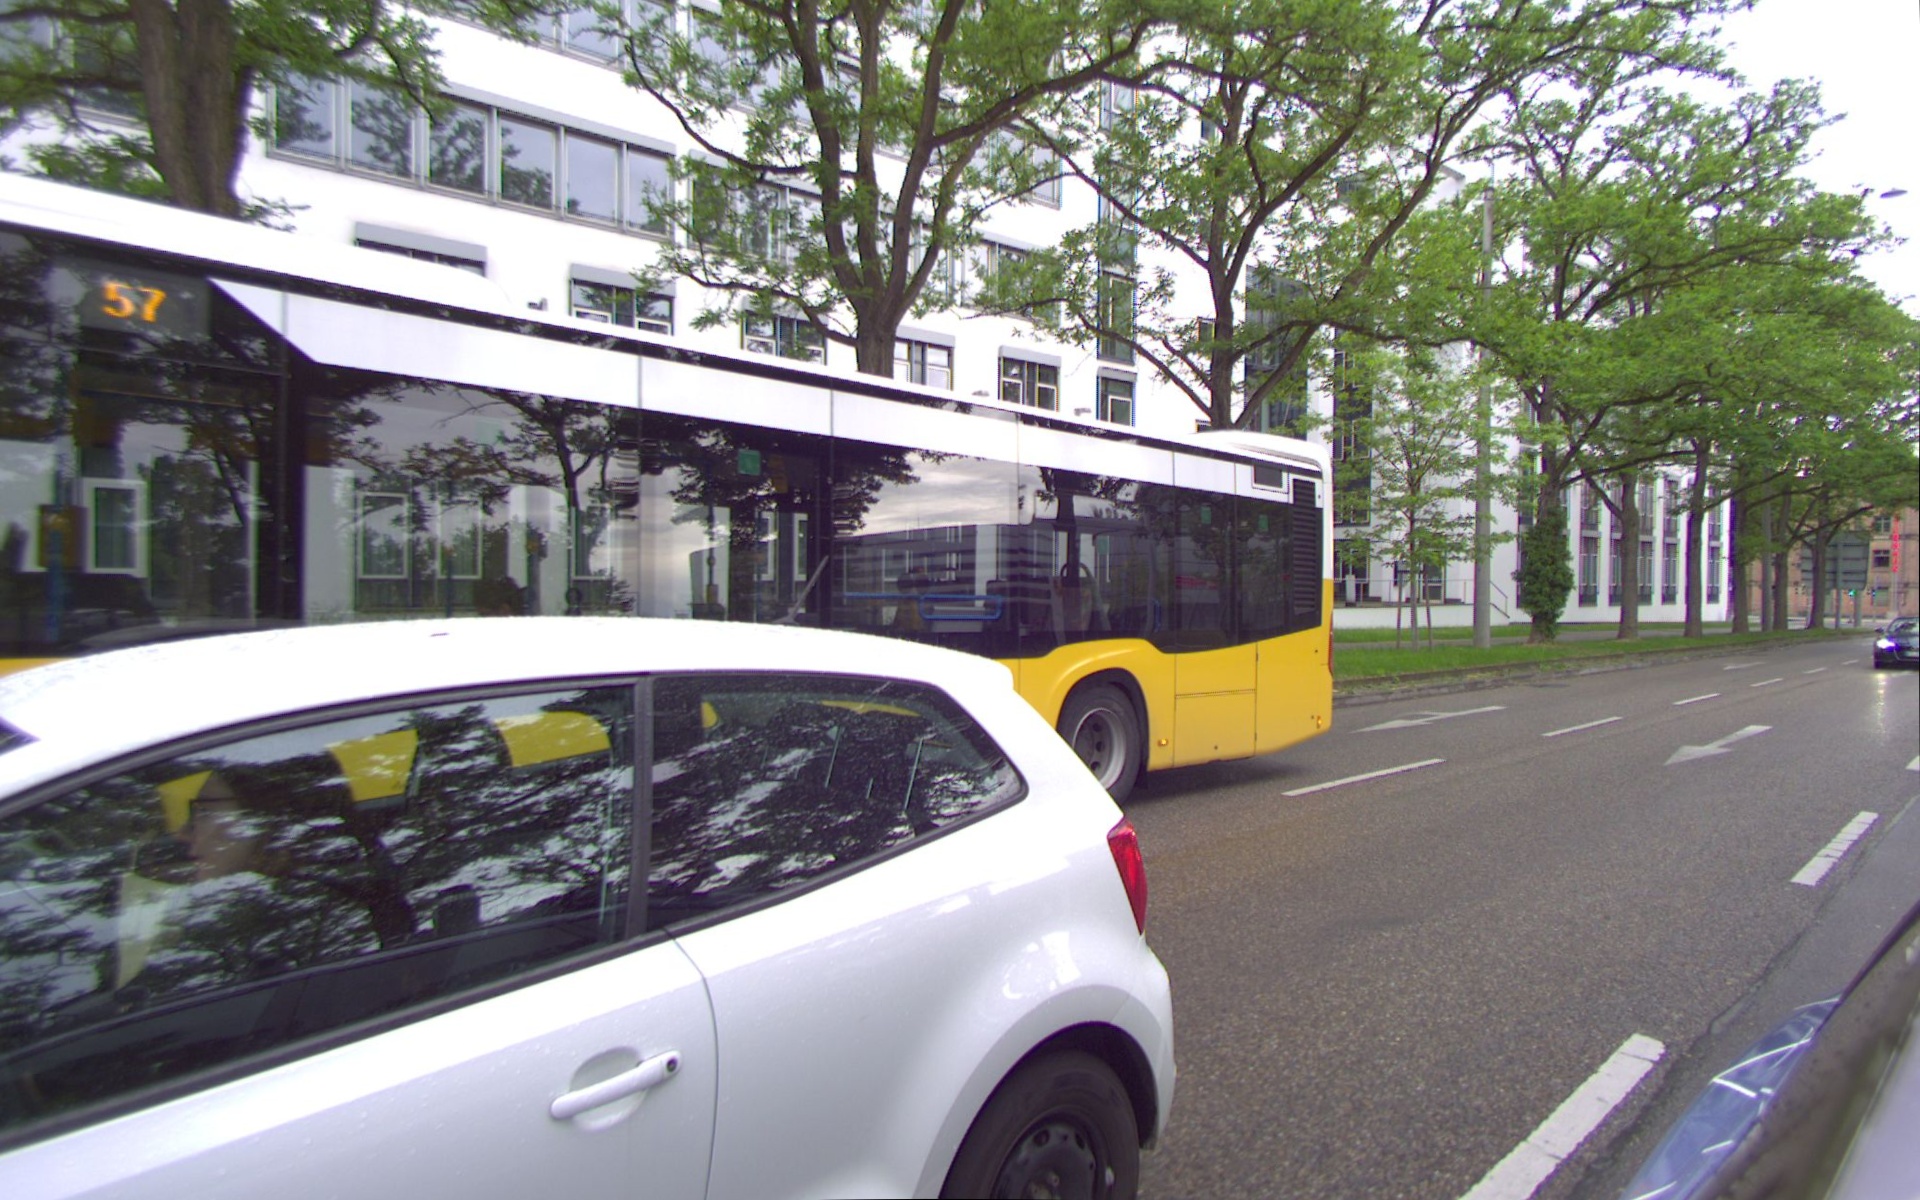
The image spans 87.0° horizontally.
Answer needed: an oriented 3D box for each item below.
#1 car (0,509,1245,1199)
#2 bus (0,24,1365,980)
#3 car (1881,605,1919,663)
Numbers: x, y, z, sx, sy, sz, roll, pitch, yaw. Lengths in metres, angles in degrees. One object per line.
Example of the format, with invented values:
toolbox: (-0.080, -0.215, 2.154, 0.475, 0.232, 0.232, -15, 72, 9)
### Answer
car: (-1.352, 0.646, 1.754, 3.744, 1.450, 1.744, -1, 0, -40)
bus: (-1.633, -0.296, 6.547, 11.932, 3.192, 2.731, 1, -1, -41)
car: (25.451, 0.842, 26.204, 4.257, 1.371, 1.876, -1, 0, -41)
